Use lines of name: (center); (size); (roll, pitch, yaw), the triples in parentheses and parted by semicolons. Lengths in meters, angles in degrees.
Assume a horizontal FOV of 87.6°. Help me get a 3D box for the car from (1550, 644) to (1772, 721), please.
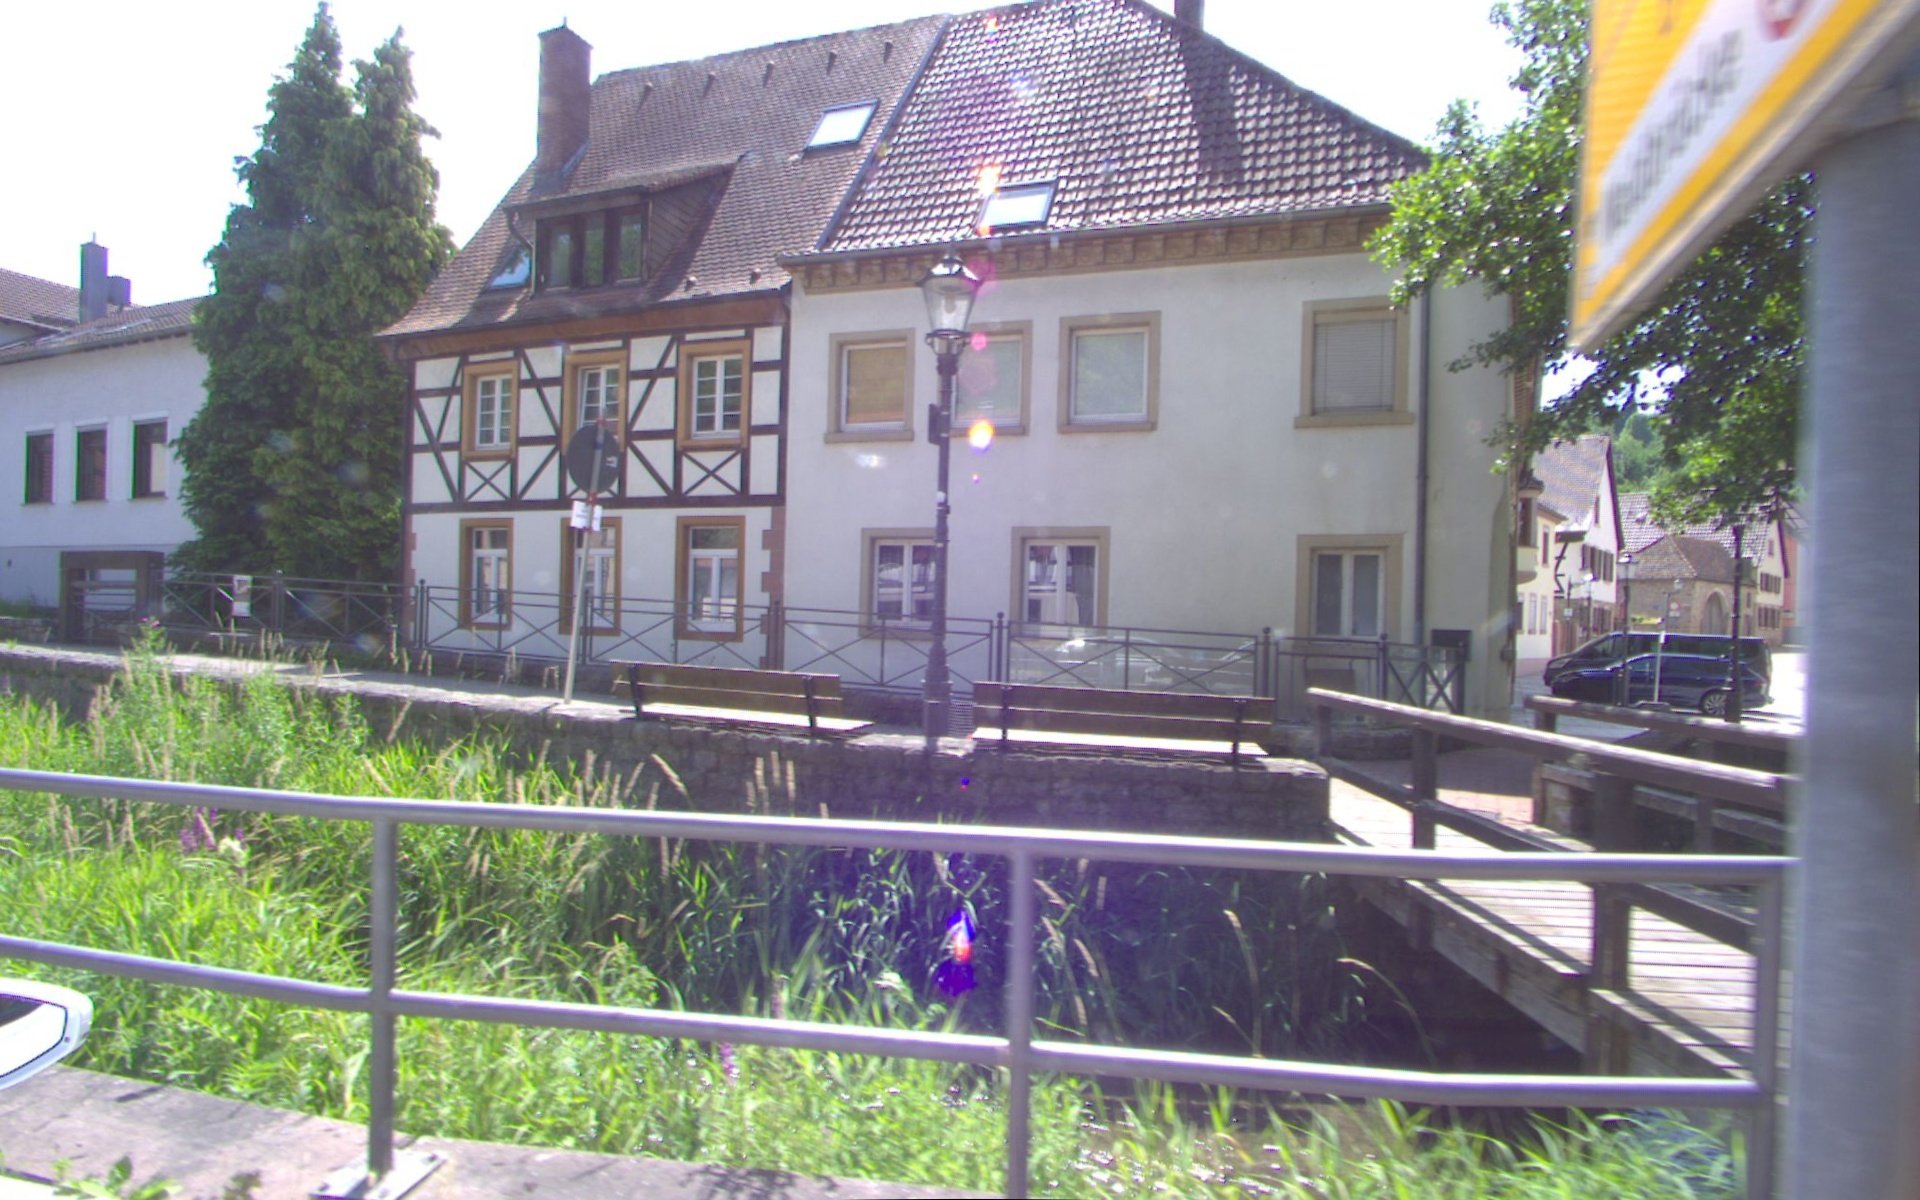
car: (17.735, 2.046, 25.622); (4.472, 1.502, 1.582); (3, 1, 31)

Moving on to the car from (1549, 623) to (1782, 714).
car: (19.403, 1.814, 27.886); (5.046, 2.054, 1.950); (3, 1, 31)

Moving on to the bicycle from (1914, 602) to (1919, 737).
bicycle: (14.779, 1.061, 13.866); (2.616, 2.037, 0.783); (2, -4, -9)
